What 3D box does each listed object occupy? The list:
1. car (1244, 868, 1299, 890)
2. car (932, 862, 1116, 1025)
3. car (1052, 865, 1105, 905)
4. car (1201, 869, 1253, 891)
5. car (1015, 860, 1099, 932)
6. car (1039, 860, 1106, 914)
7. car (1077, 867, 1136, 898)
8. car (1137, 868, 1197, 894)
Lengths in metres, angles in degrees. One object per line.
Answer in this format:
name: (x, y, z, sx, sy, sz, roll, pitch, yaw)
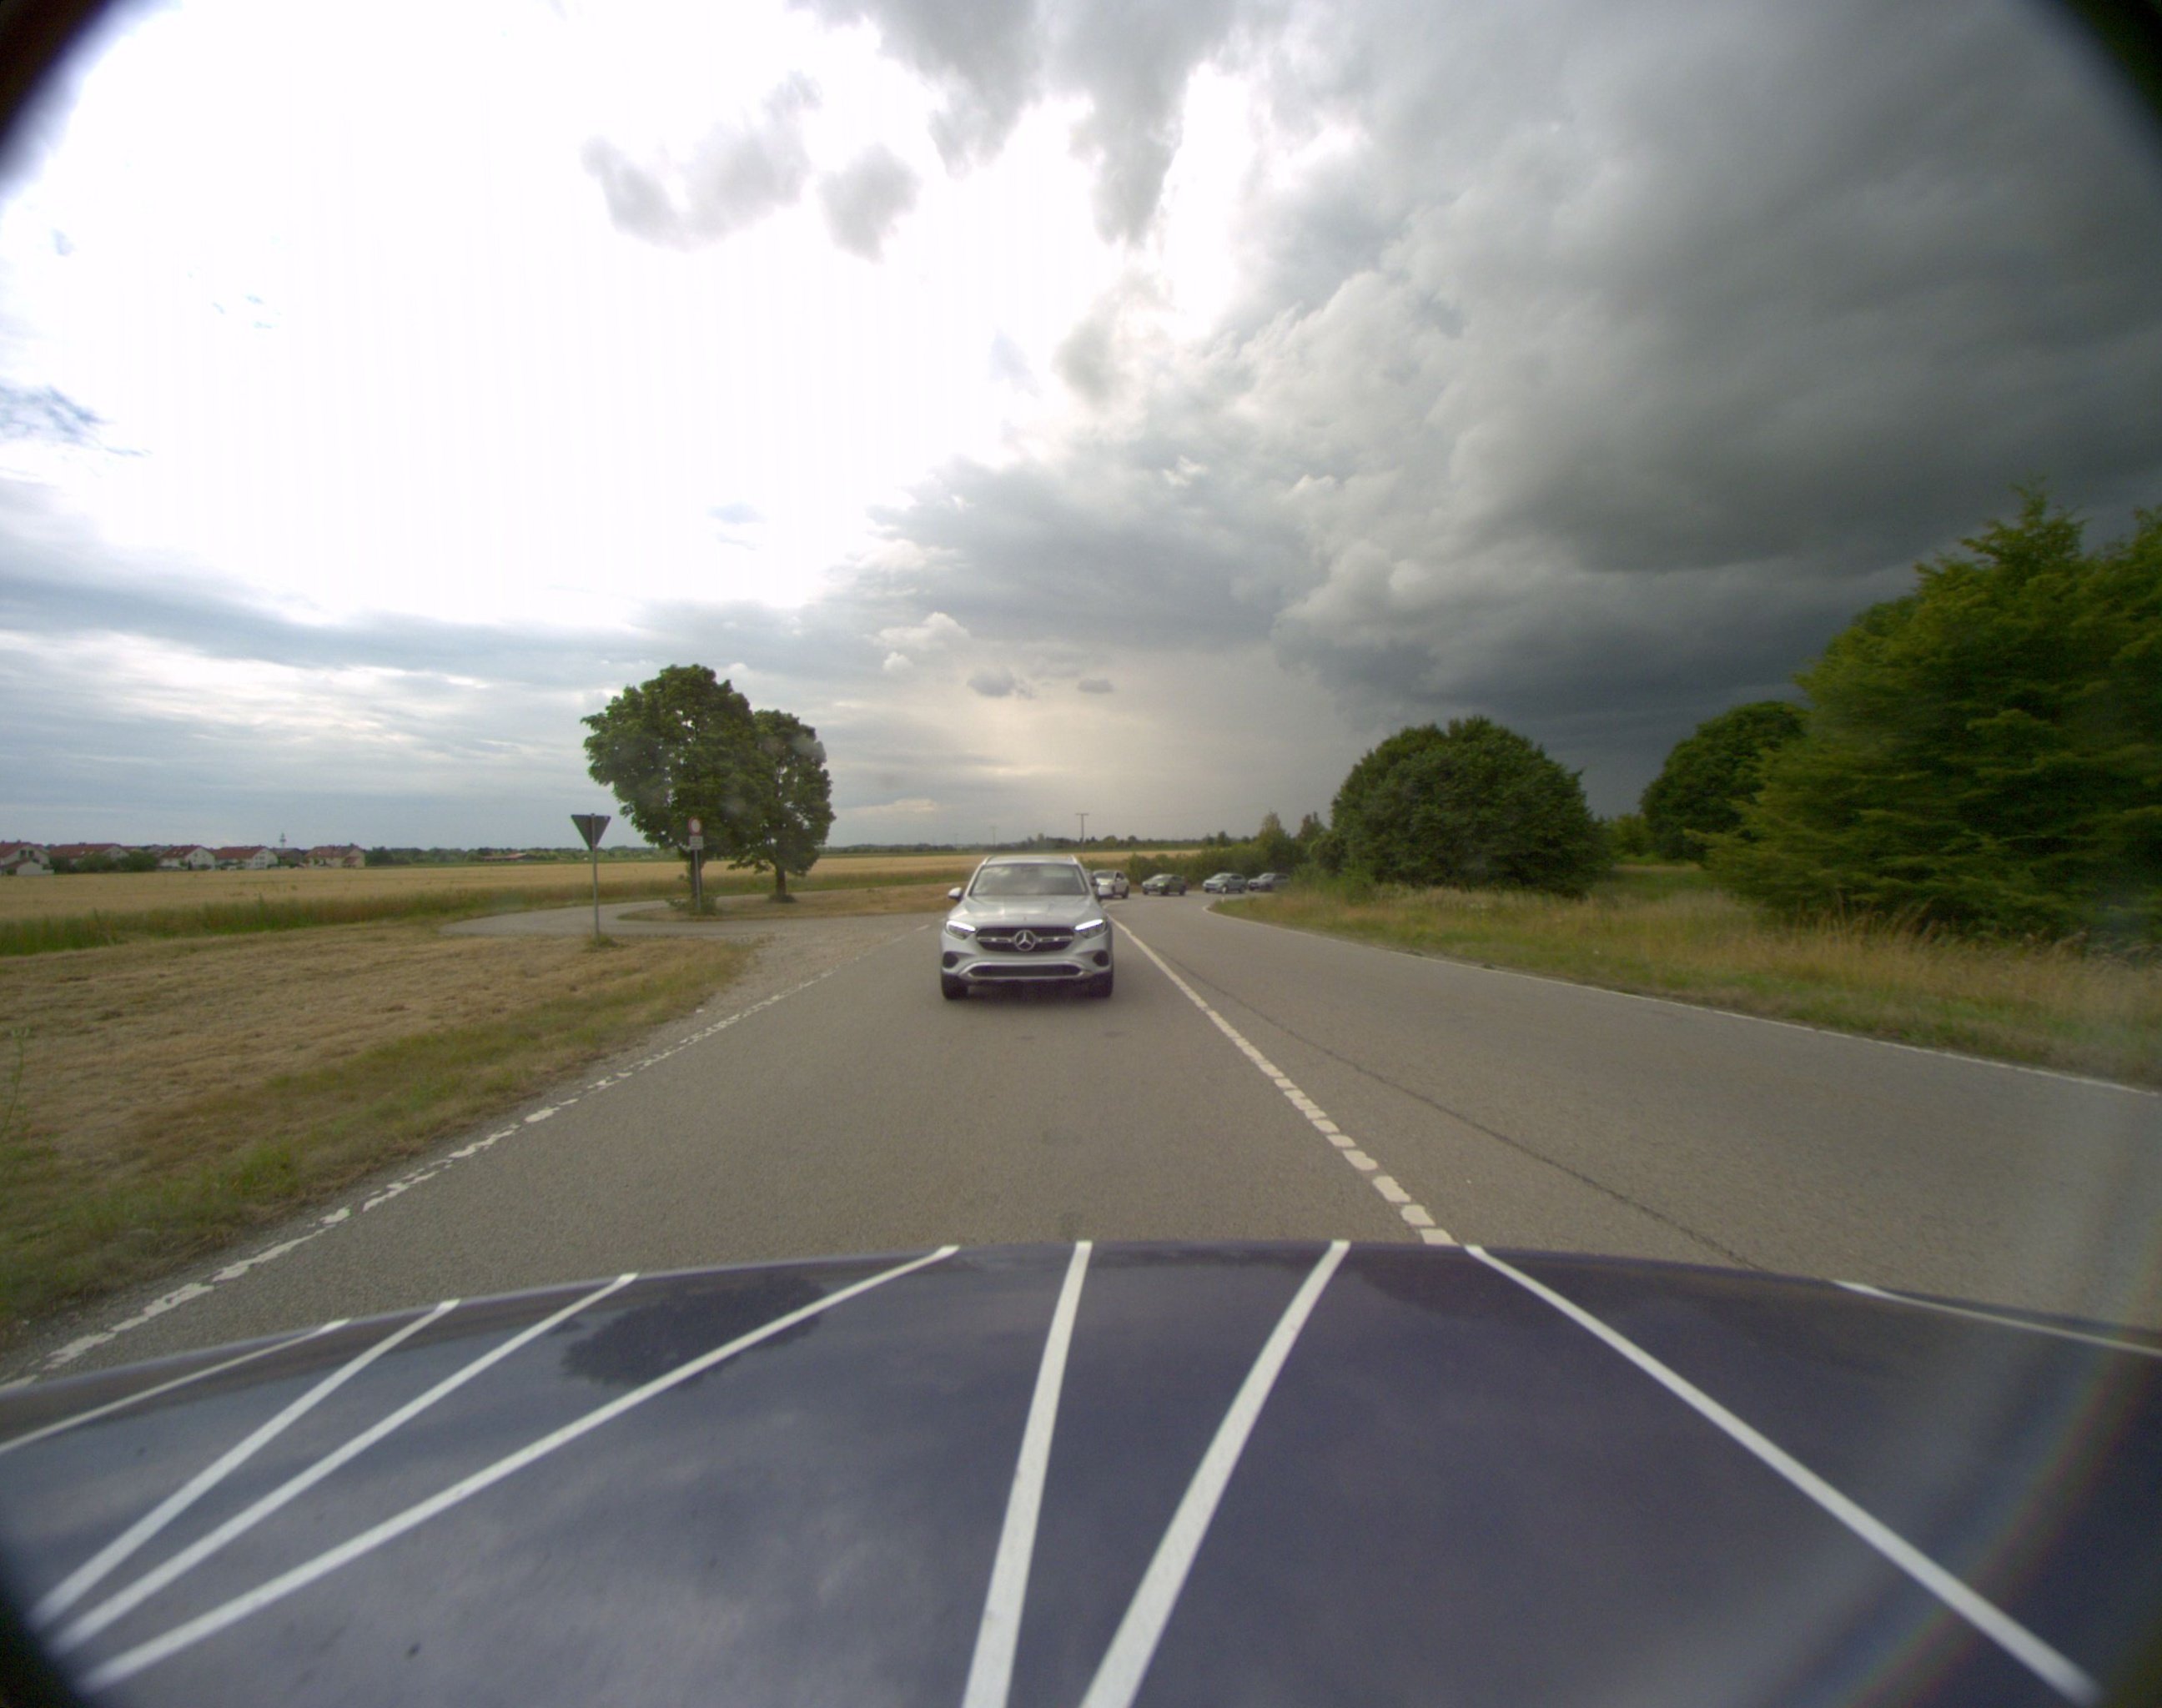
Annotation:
car: (17.193, 2.206, 68.538, 5.218, 1.710, 1.994, -1, 2, -38)
car: (-0.607, 0.924, 9.858, 1.836, 1.577, 4.449, 0, 0, -1)
car: (-0.040, 1.412, 36.327, 1.997, 1.709, 5.211, 2, 0, 5)
car: (12.231, 2.149, 63.421, 1.994, 1.709, 5.221, 2, 0, 40)
car: (-0.509, 1.039, 20.780, 1.998, 1.709, 5.210, 0, -1, 2)
car: (-0.203, 1.163, 27.613, 1.998, 1.709, 5.211, 2, -2, 3)
car: (1.646, 1.658, 45.751, 1.995, 1.709, 5.217, 2, 0, 20)
car: (6.325, 1.955, 55.286, 1.994, 1.709, 5.221, 2, 0, 36)
